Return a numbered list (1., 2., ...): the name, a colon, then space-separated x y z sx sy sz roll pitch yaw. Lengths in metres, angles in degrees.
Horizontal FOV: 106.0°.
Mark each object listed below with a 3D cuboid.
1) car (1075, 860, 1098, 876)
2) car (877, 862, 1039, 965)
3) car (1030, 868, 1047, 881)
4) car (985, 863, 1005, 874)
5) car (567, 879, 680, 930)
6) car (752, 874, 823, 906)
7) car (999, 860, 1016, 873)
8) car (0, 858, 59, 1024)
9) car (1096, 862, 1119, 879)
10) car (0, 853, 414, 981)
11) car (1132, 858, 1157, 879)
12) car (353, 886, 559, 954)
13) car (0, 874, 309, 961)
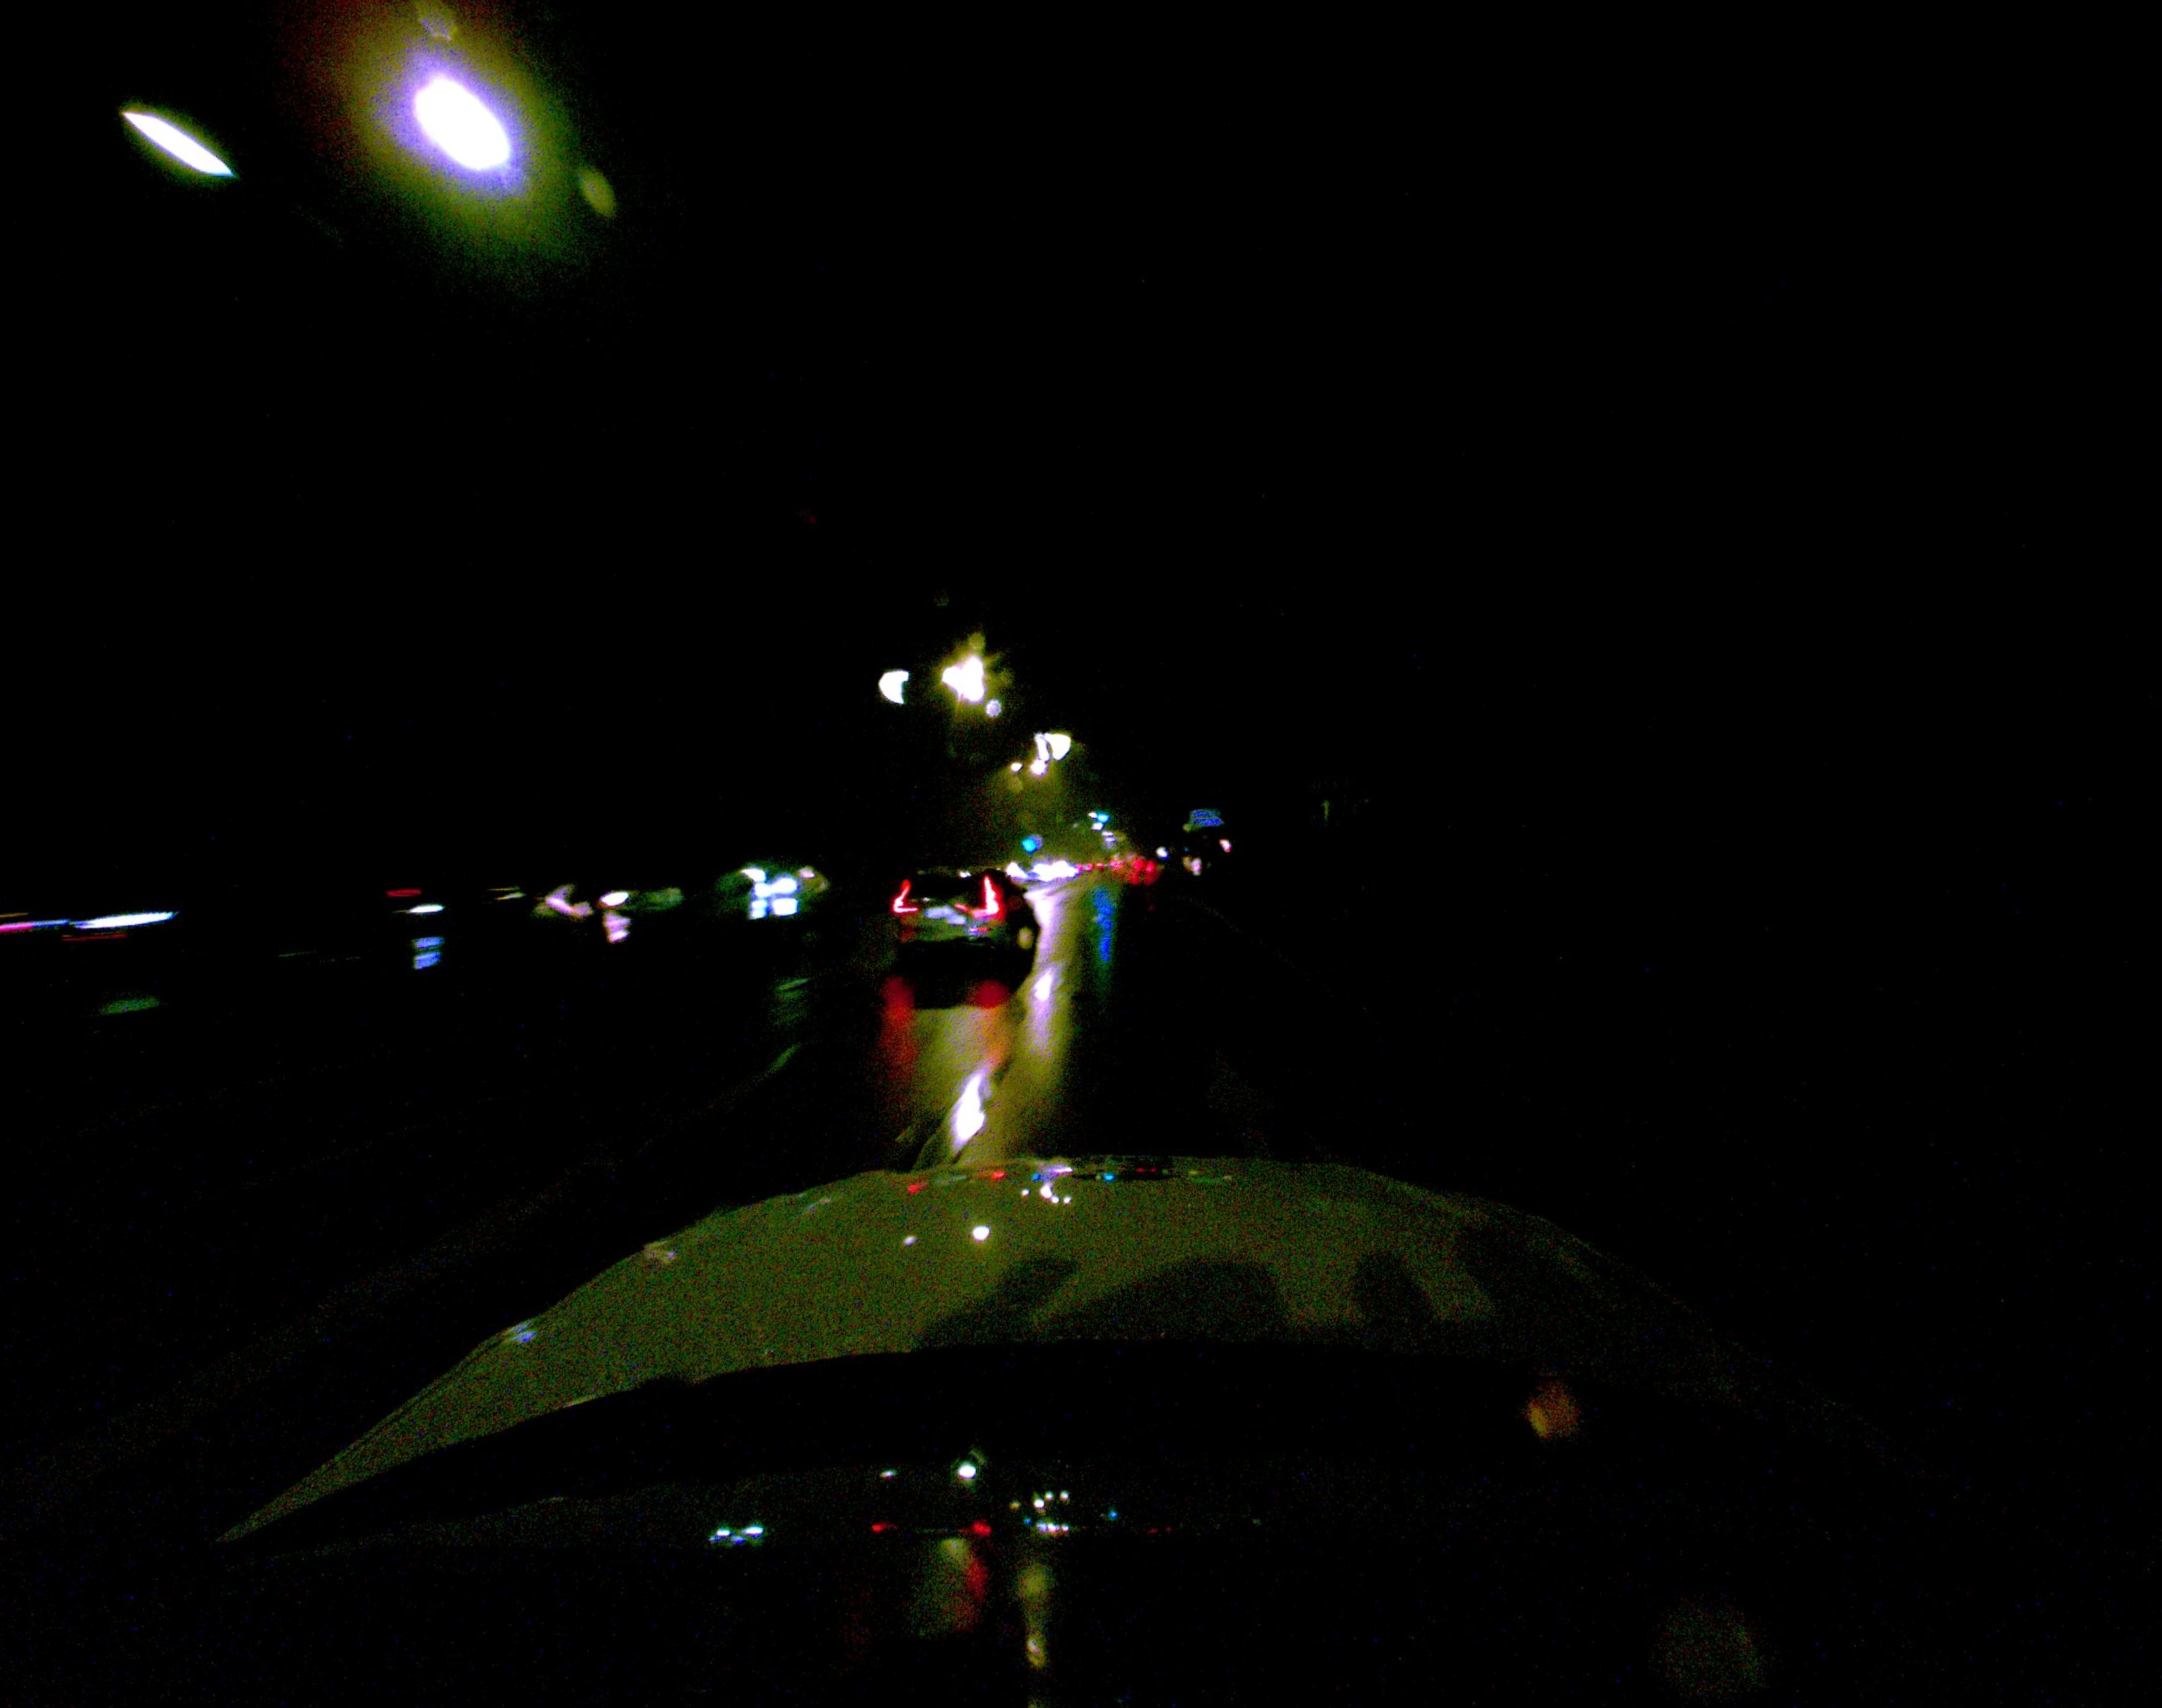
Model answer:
1. car: 0.682 1.637 96.391 2.166 1.602 4.007 3 -3 7
2. car: -1.923 0.923 14.045 1.788 1.452 4.273 -2 -2 4
3. car: -5.031 2.407 96.293 1.582 1.427 3.355 -1 0 5
4. car: -9.479 1.613 90.336 1.637 1.203 3.617 -1 -1 3
5. car: -16.338 1.747 29.332 1.486 1.602 4.150 -1 -1 4
6. car: -14.969 1.803 41.754 1.876 1.531 4.432 2 -1 1
7. car: -10.906 1.890 121.272 1.754 1.892 4.209 -1 -1 4
8. car: -11.252 0.832 6.034 1.805 1.578 4.308 -2 -1 2
9. car: 2.872 1.809 87.682 2.167 1.602 4.004 3 -3 5
10. car: -13.755 0.908 13.293 1.791 1.666 4.490 2 -1 3
11. car: 5.791 1.357 73.707 1.899 1.602 4.007 3 -3 7
12. car: -16.608 1.688 22.015 1.844 1.539 4.536 -4 -2 3
13. car: -17.236 1.078 15.154 1.752 1.377 4.043 -1 -1 3
